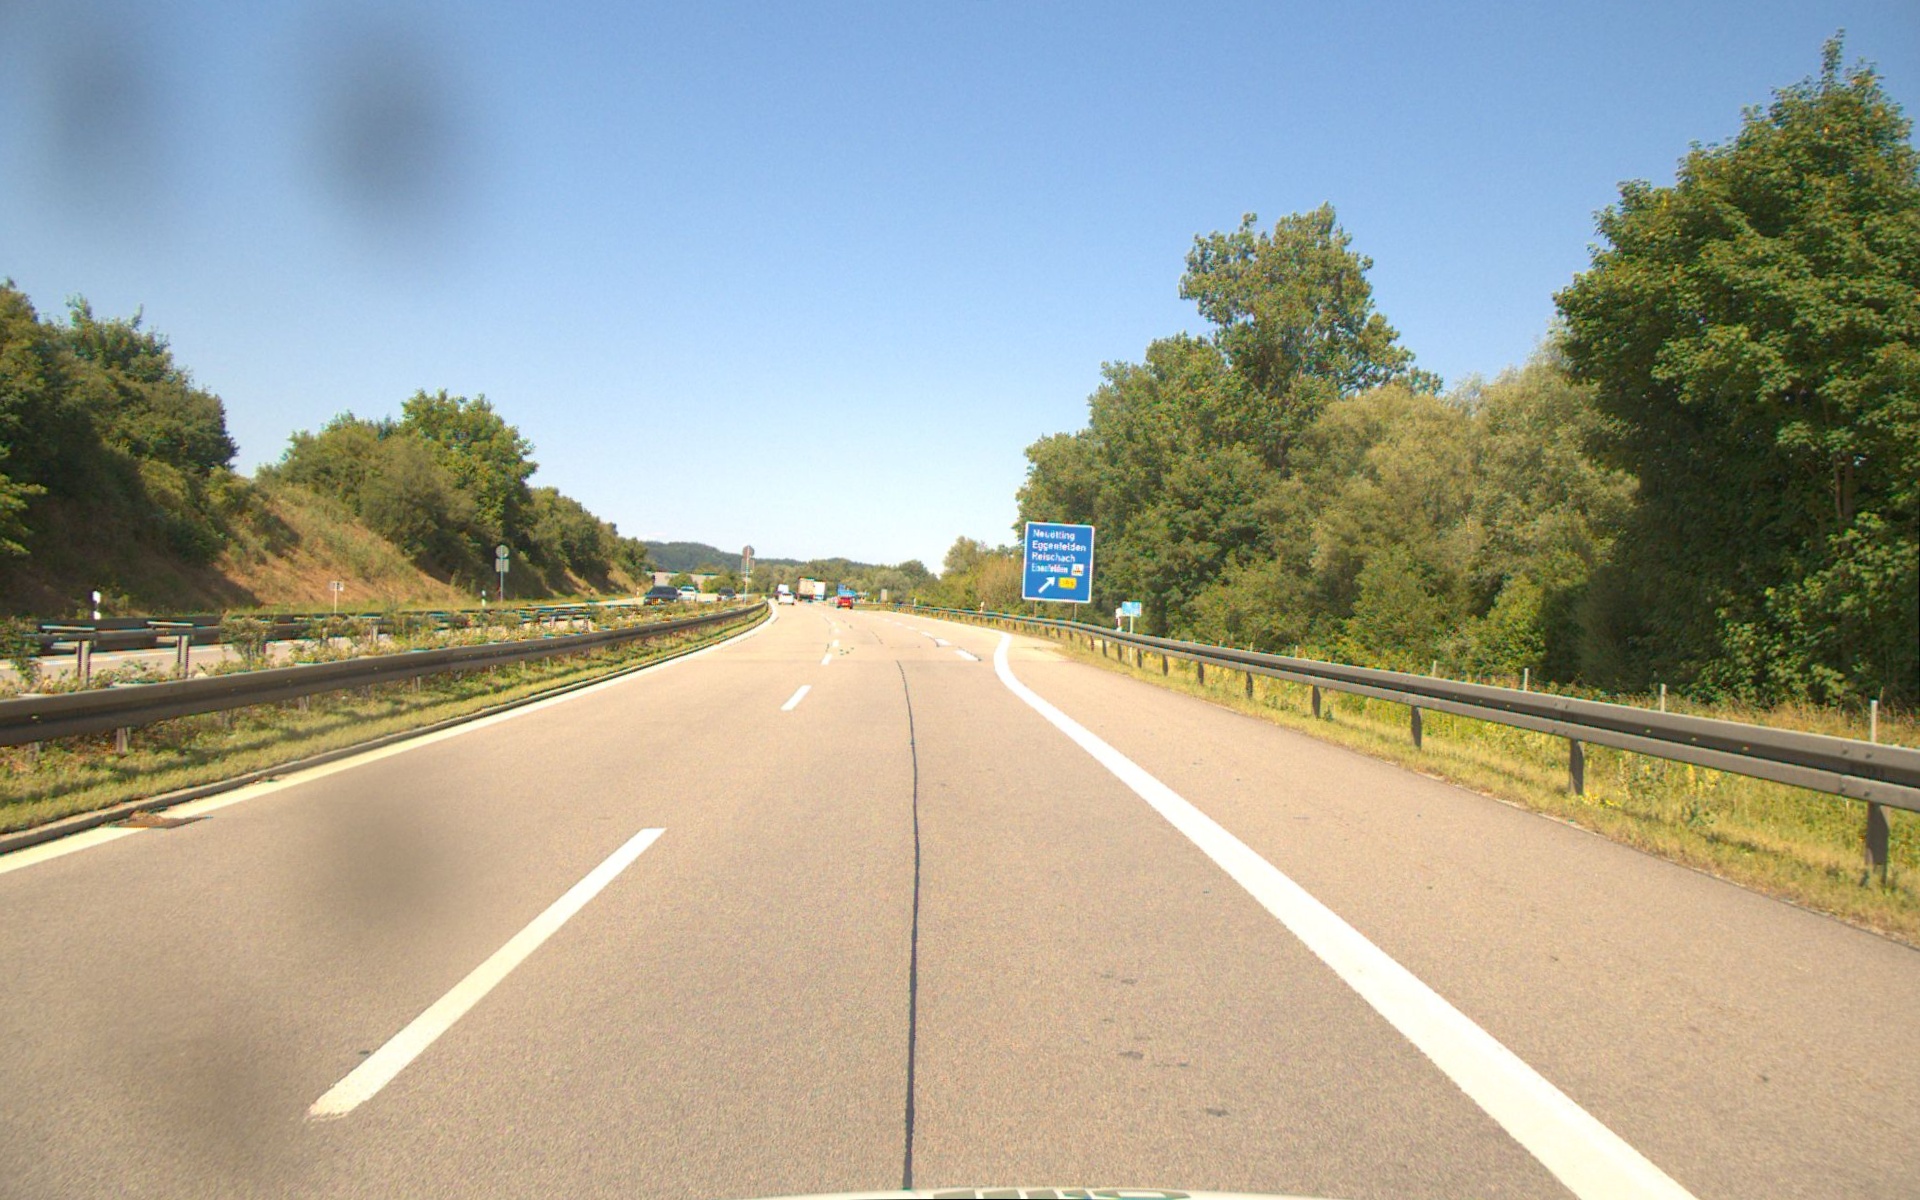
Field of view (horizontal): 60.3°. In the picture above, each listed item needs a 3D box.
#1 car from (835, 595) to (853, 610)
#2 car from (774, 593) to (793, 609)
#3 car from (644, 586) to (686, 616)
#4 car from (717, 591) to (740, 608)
[{"bbox_3d":[-13.657,0.320,194.683,1.748,1.456,4.000,6,-1,0],"label":"car"},{"bbox_3d":[-20.174,0.108,188.630,2.022,1.653,3.993,2,-2,-7],"label":"car"},{"bbox_3d":[-15.770,0.069,88.487,1.612,1.480,4.903,1,-1,-3],"label":"car"},{"bbox_3d":[-22.303,-0.045,159.710,1.955,1.572,4.671,1,0,-6],"label":"car"}]
